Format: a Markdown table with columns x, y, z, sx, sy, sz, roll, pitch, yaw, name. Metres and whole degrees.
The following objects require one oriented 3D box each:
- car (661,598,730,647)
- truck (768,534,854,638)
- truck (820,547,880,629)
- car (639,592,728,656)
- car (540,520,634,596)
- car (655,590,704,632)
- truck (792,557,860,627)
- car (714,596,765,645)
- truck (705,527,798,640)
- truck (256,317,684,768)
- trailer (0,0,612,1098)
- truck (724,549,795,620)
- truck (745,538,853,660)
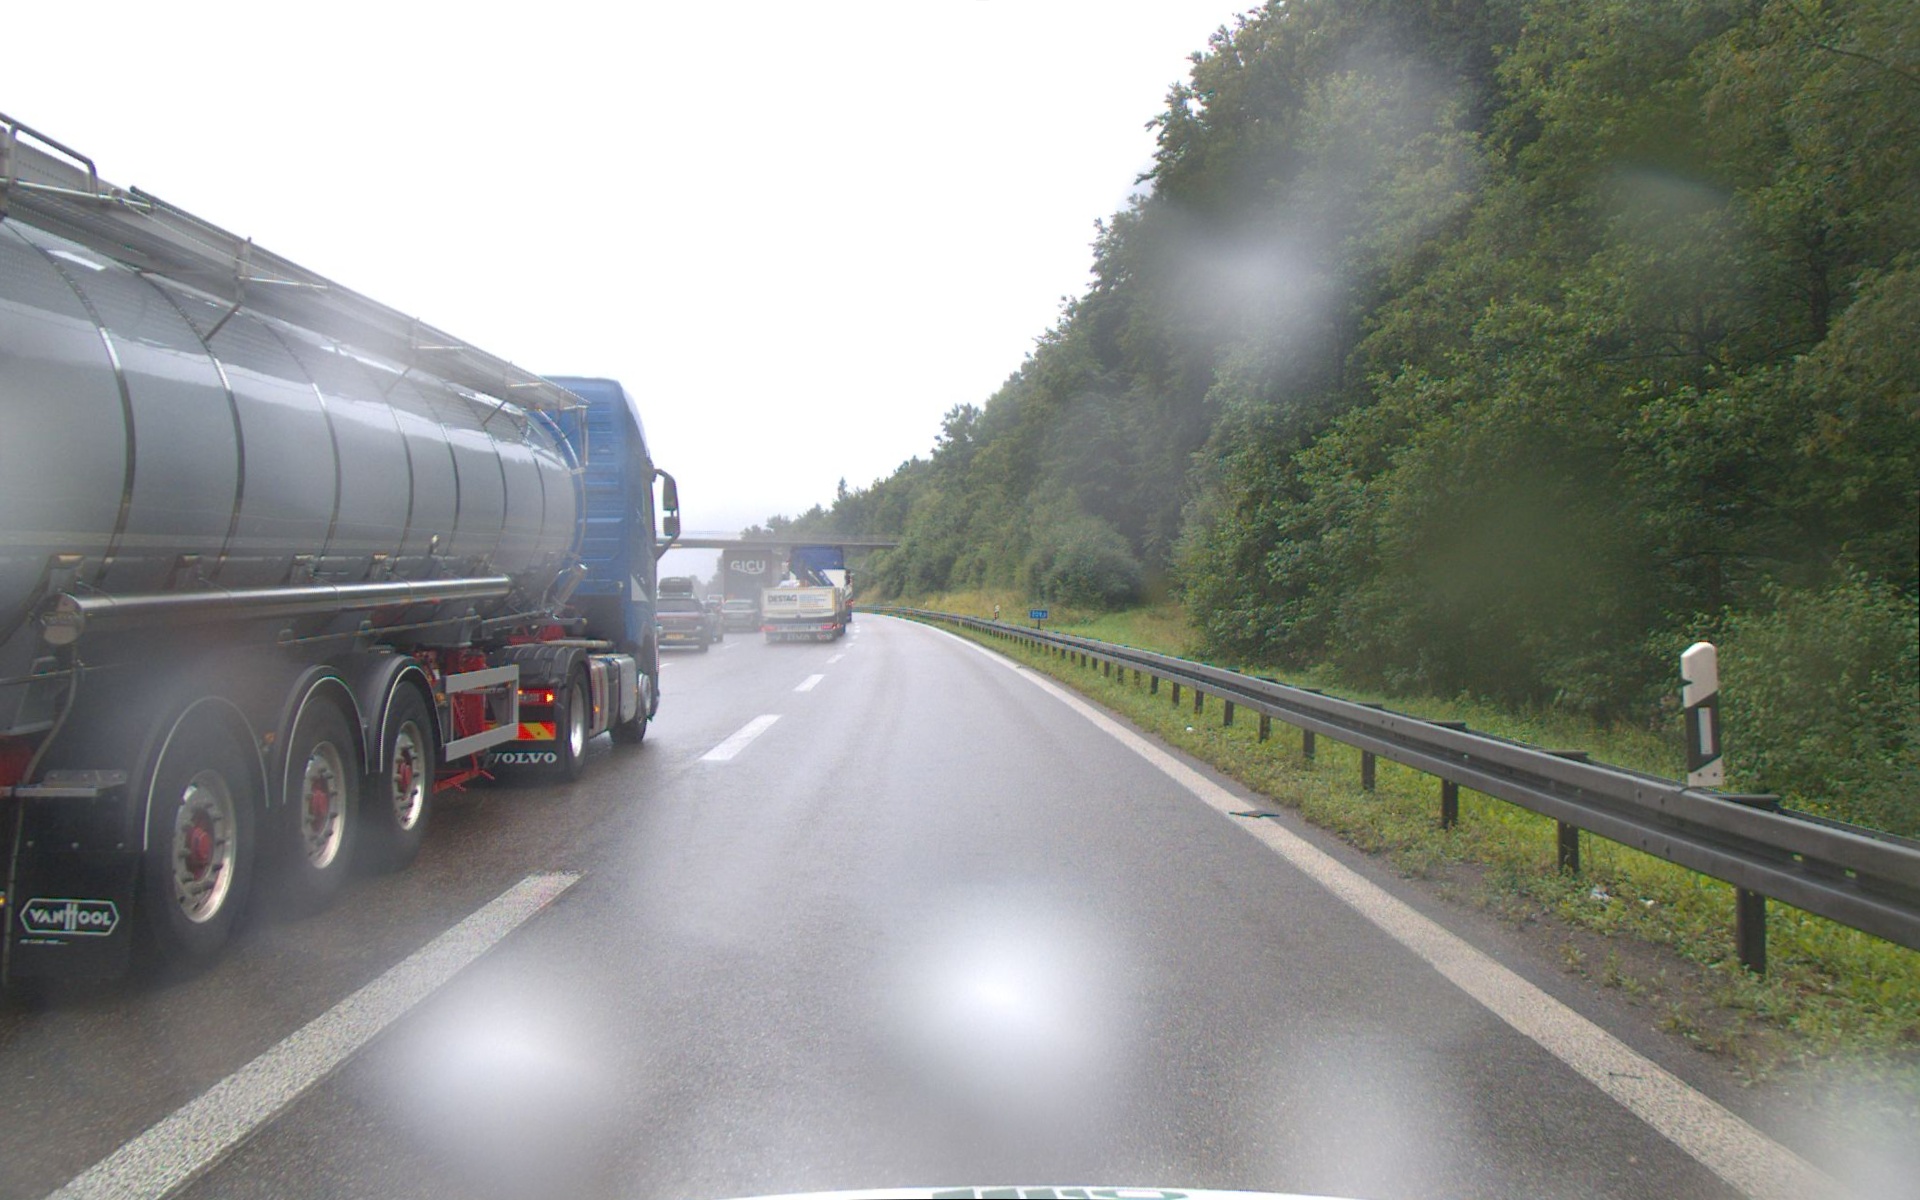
| x | y | z | sx | sy | sz | roll | pitch | yaw | name |
| --- | --- | --- | --- | --- | --- | --- | --- | --- | --- |
| -9.273 | 0.760 | 58.287 | 1.899 | 1.691 | 3.999 | 0 | 0 | -2 | car |
| -6.922 | -0.489 | 78.249 | 3.438 | 4.342 | 10.594 | 4 | -2 | -3 | truck |
| -8.644 | -0.842 | 130.511 | 4.251 | 5.864 | 9.722 | 4 | -2 | -3 | truck |
| -8.049 | 0.726 | 48.495 | 1.954 | 1.665 | 3.998 | 4 | -2 | -2 | car |
| -10.746 | -1.174 | 47.941 | 1.761 | 1.870 | 3.998 | 4 | -2 | -1 | car |
| -13.861 | 0.583 | 81.911 | 1.807 | 1.892 | 3.997 | 4 | -2 | -2 | car |
| -8.736 | -0.394 | 109.546 | 3.679 | 4.040 | 11.053 | 4 | -2 | -2 | truck |
| -10.062 | 0.974 | 75.800 | 1.757 | 2.049 | 3.998 | 4 | -2 | -1 | car |
| -11.315 | -0.743 | 90.825 | 3.679 | 5.595 | 10.168 | 4 | -2 | -1 | truck |
| -4.507 | -0.481 | 16.345 | 2.819 | 3.758 | 5.054 | 0 | 0 | -2 | truck |
| -4.304 | -0.275 | 9.515 | 2.816 | 3.346 | 10.073 | 0 | 0 | -2 | trailer |
| -13.026 | -0.894 | 108.477 | 3.504 | 4.167 | 10.875 | 1 | -2 | -1 | truck |
| -5.908 | -0.032 | 62.598 | 3.528 | 4.177 | 11.552 | 0 | 0 | -3 | truck |
